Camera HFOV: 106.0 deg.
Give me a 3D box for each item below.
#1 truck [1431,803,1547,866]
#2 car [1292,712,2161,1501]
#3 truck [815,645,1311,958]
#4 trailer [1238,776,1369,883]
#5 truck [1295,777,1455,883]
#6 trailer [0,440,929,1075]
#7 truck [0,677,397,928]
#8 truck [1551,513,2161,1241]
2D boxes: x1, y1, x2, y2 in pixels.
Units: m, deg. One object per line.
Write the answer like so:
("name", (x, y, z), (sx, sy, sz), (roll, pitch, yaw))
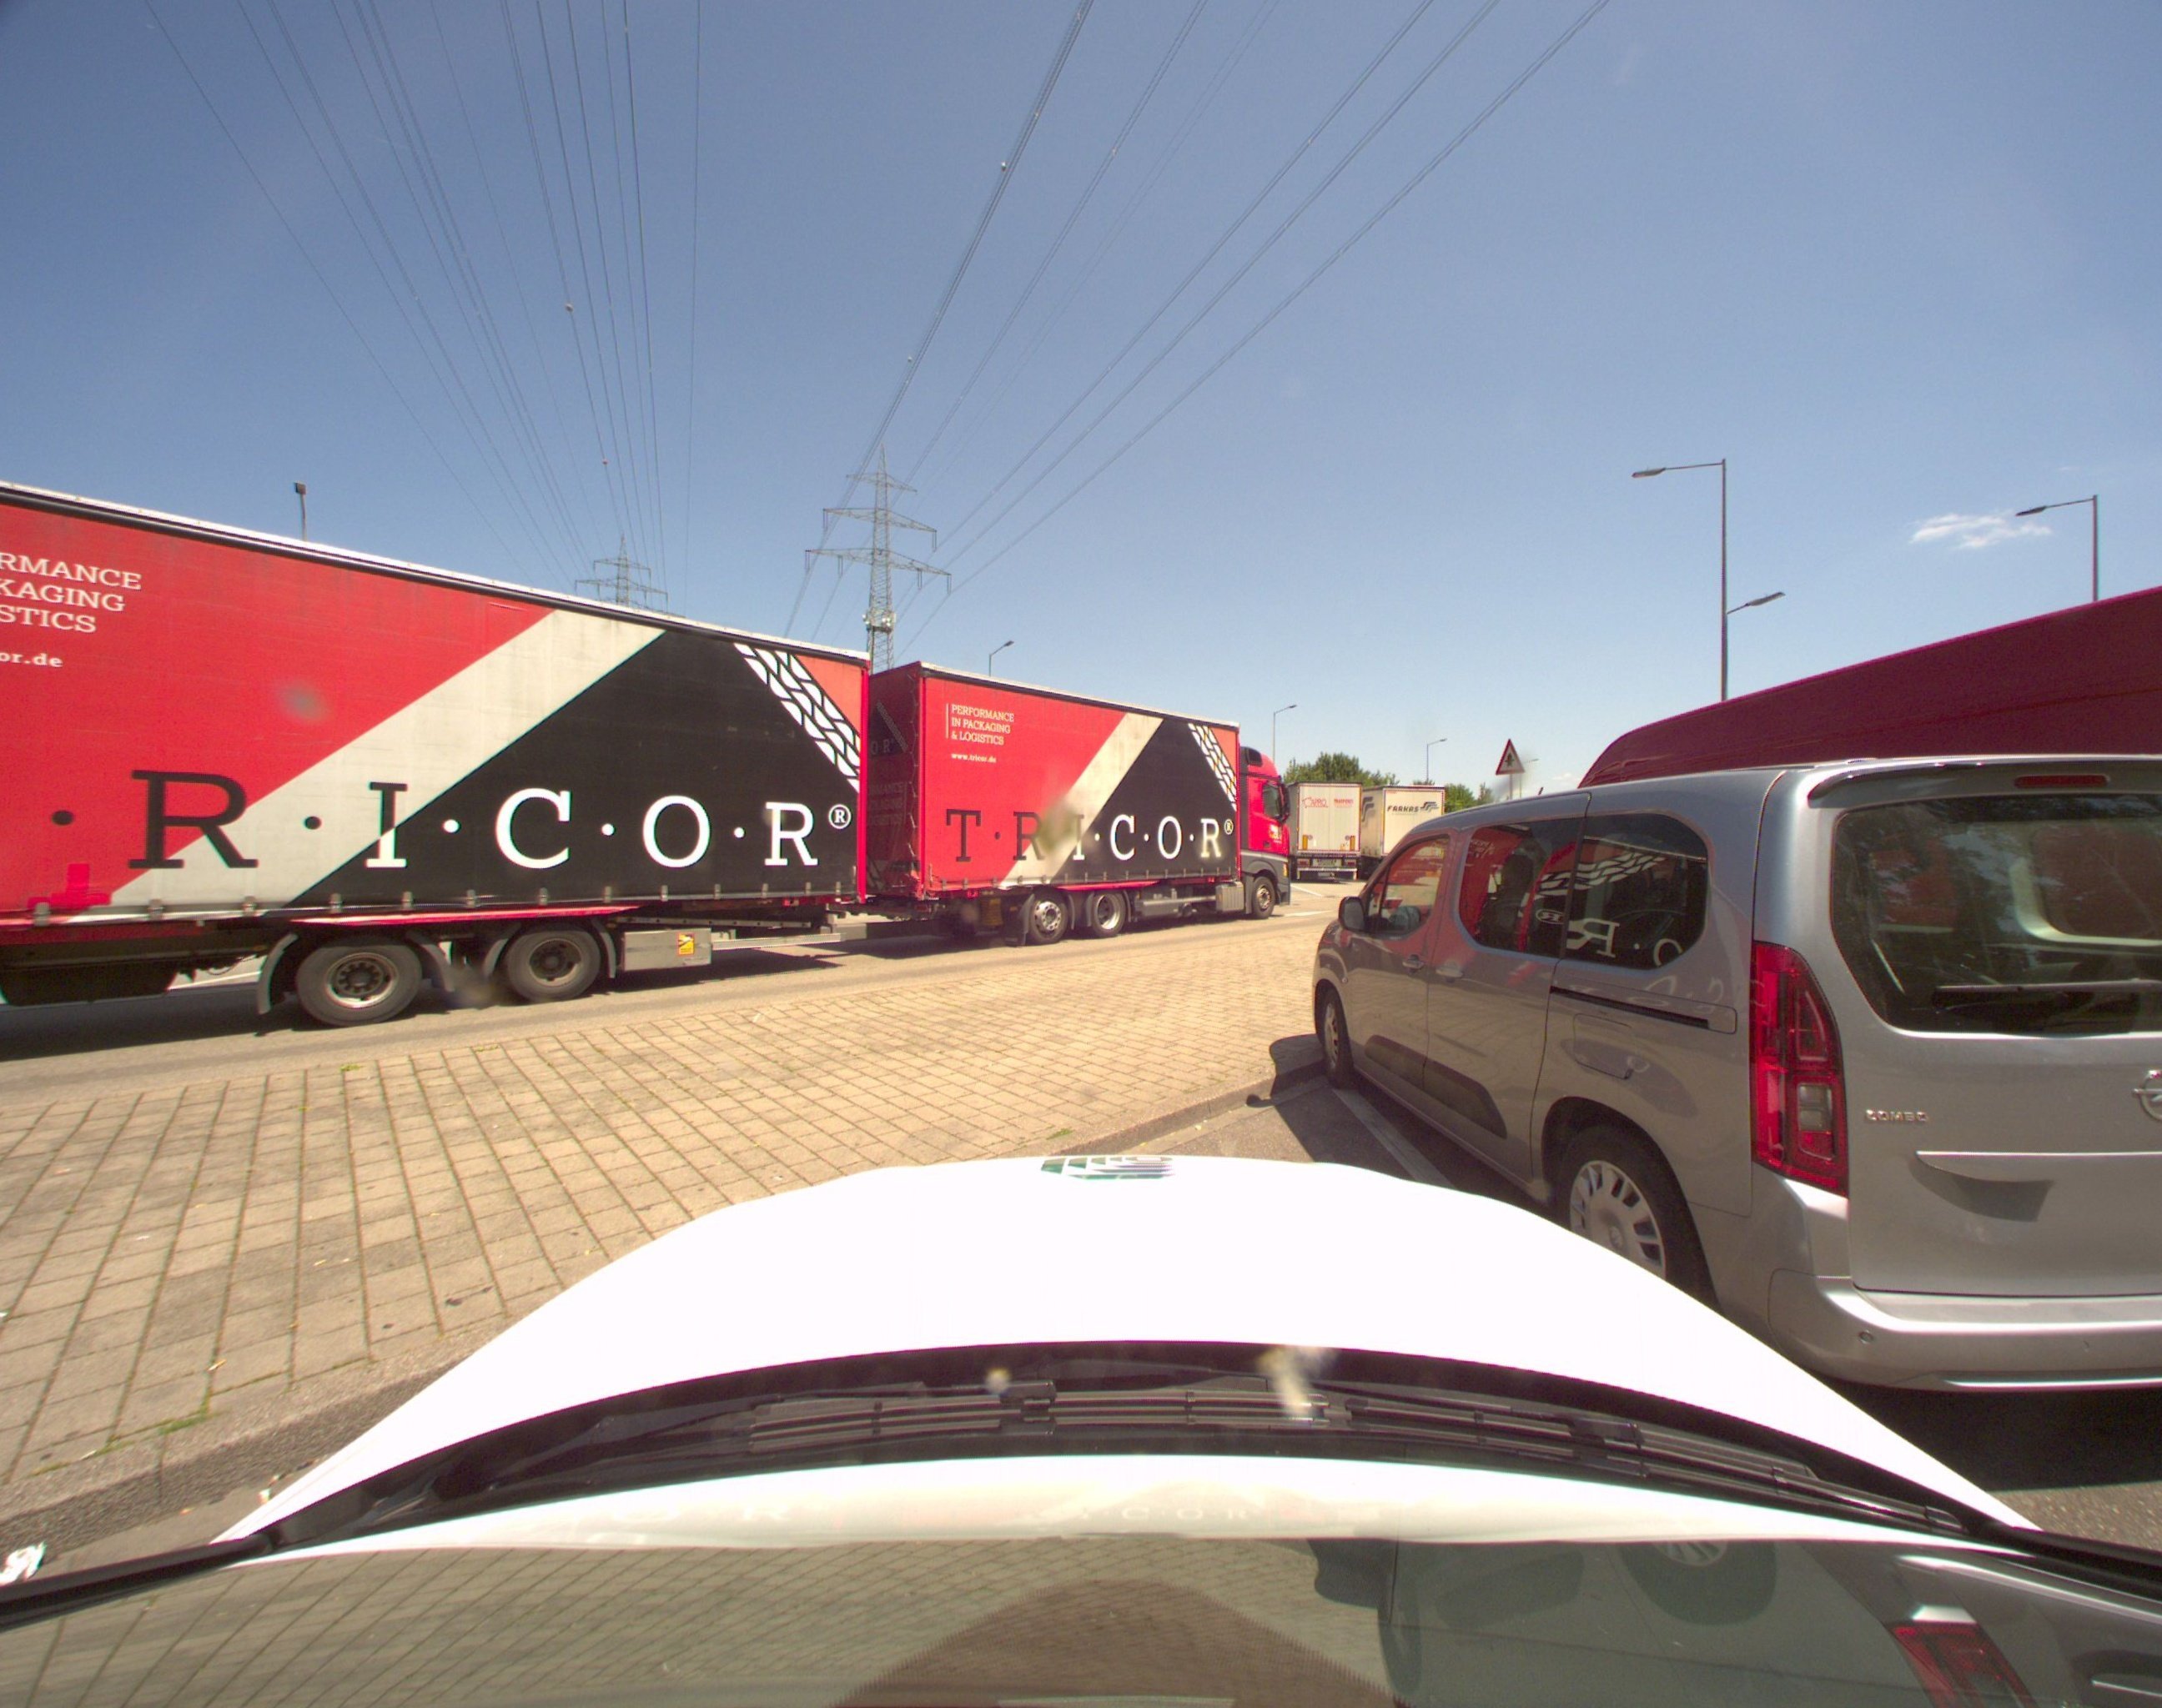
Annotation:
("truck", (24.469, -1.137, 49.426), (3.013, 3.437, 8.534), (-1, 1, 2))
("car", (2.469, 0.525, 3.846), (1.821, 1.753, 3.998), (-1, 1, -2))
("truck", (0.553, -0.772, 15.541), (2.660, 4.127, 10.669), (0, 1, 44))
("trailer", (9.945, -1.072, 38.404), (2.865, 4.124, 13.577), (0, 1, 2))
("truck", (13.580, -1.064, 39.647), (2.894, 4.124, 14.533), (2, 1, 2))
("trailer", (-6.091, -0.695, 8.671), (2.808, 4.257, 8.737), (0, 1, 44))
("truck", (-18.511, -0.856, 15.965), (2.627, 4.018, 8.640), (-1, 1, 2))
("truck", (5.098, 0.045, 4.867), (1.983, 2.623, 5.312), (-1, 1, 6))
